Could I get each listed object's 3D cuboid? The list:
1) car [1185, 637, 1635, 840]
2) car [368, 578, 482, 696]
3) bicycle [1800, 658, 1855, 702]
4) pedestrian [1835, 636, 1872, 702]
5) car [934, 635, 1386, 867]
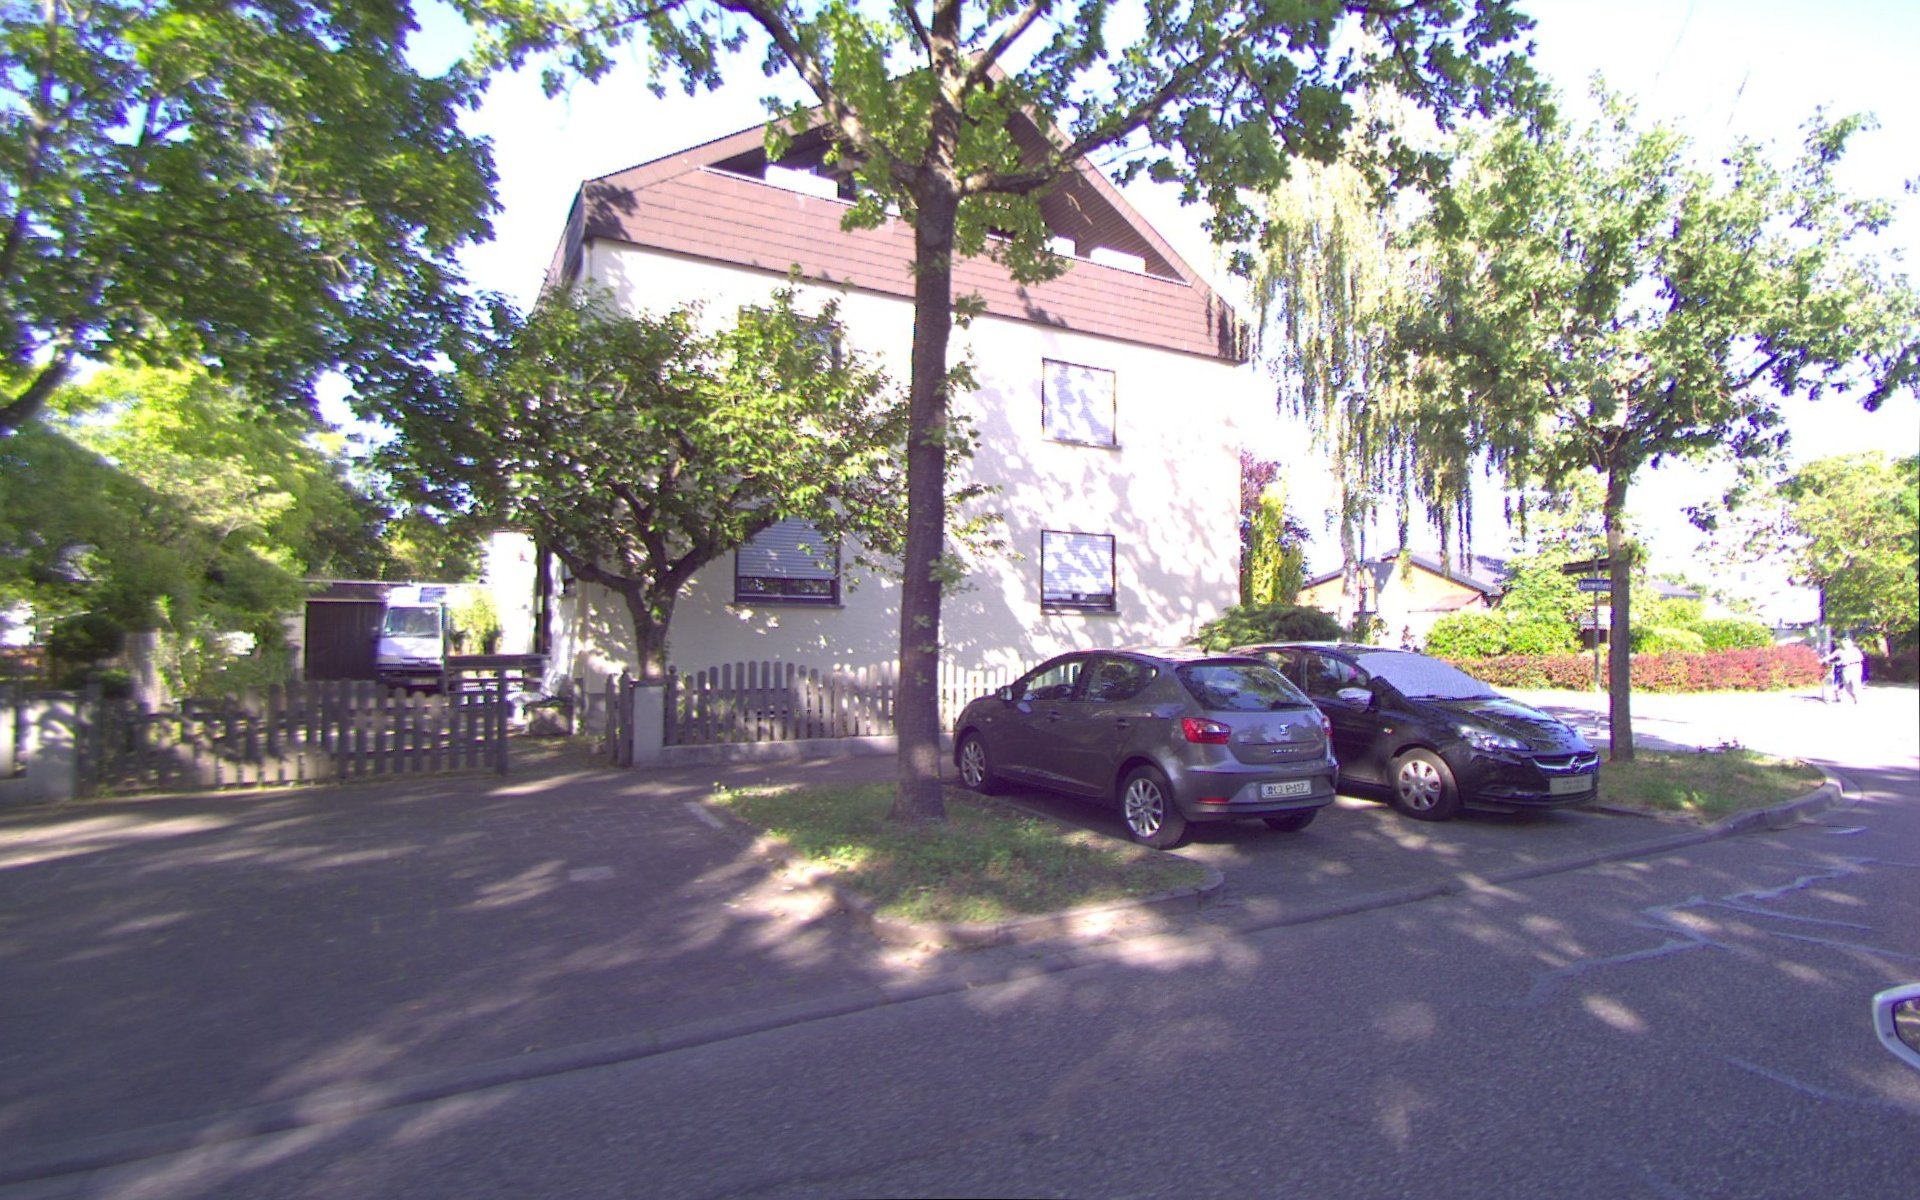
[{"bbox_3d":[4.137,1.151,9.882,1.692,1.478,3.842,1,-1,-28],"label":"car"},{"bbox_3d":[-12.251,0.872,23.275,2.000,2.457,4.362,2,-3,-25],"label":"car"},{"bbox_3d":[21.599,1.994,24.999,1.871,1.053,0.445,2,-3,-31],"label":"bicycle"},{"bbox_3d":[21.968,1.689,24.705,0.791,1.577,0.439,2,-2,-30],"label":"pedestrian"},{"bbox_3d":[1.473,1.071,8.710,1.752,1.438,3.799,1,-1,-31],"label":"car"}]
